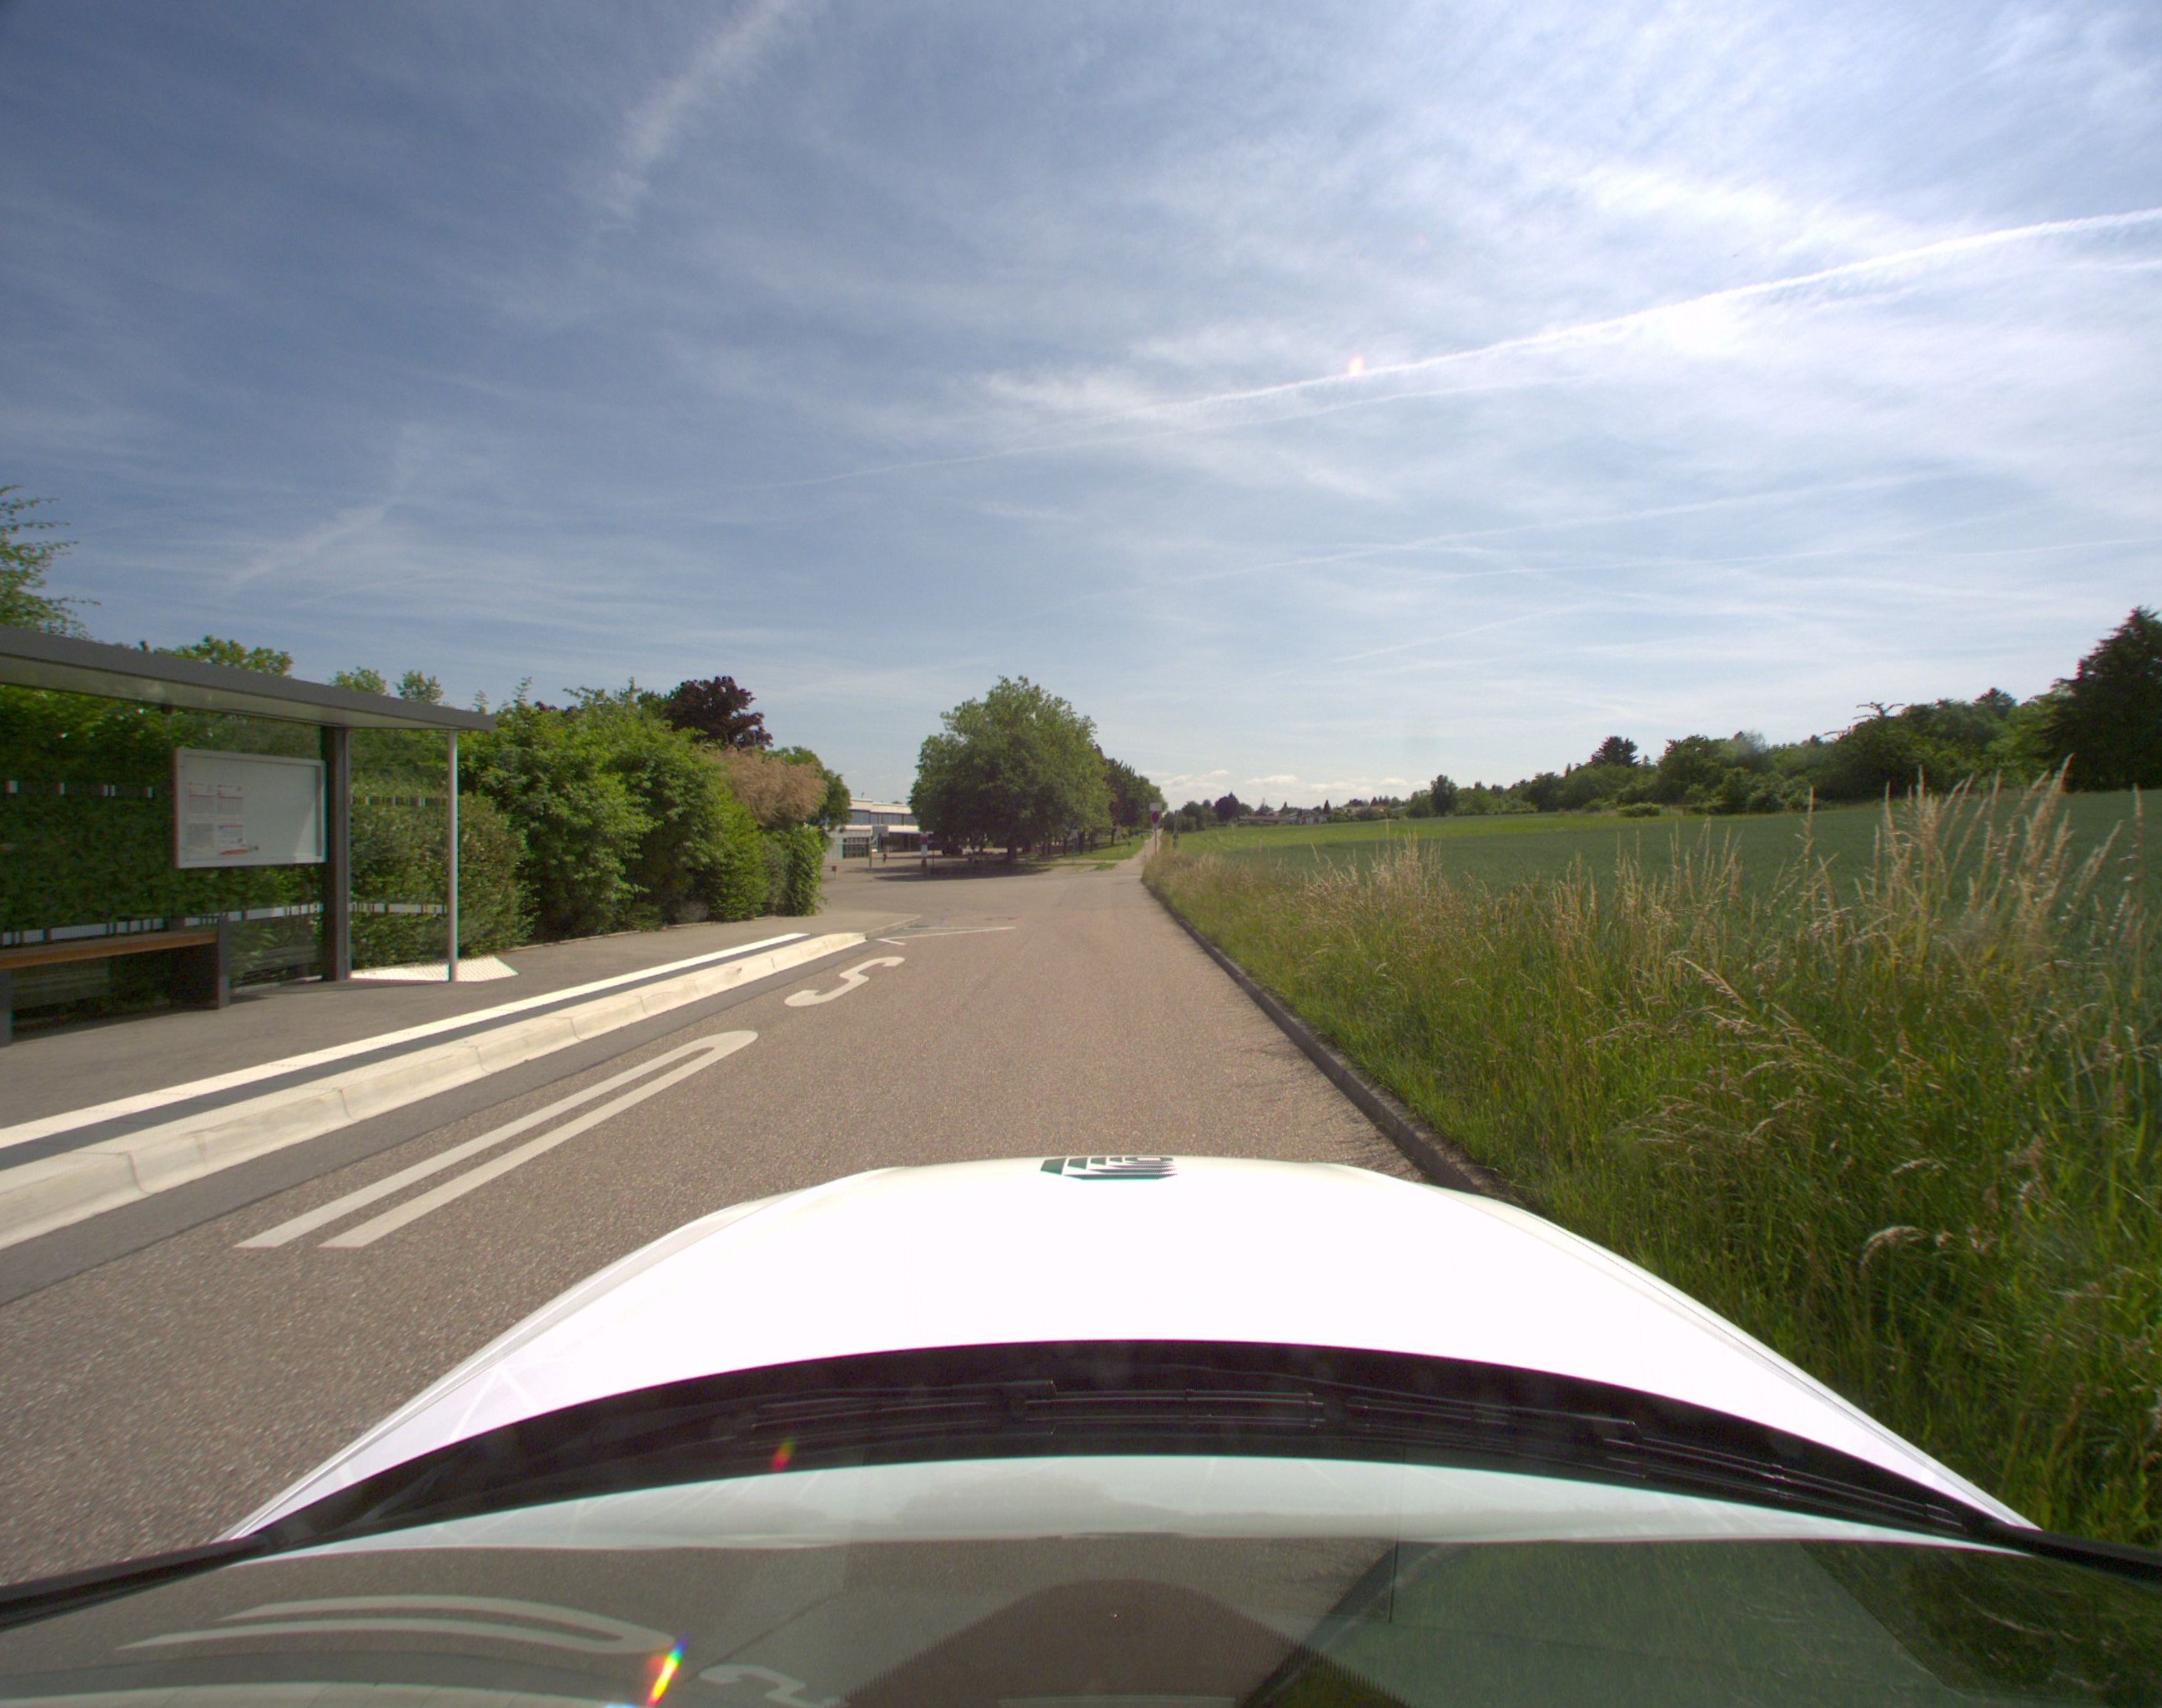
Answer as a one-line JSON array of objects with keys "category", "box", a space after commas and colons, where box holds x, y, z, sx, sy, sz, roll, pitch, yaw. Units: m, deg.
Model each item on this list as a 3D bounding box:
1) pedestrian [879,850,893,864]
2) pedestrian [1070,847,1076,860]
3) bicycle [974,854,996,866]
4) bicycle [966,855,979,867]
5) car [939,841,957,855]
[{"category": "pedestrian", "box": [-19.914, 0.304, 83.285, 0.909, 1.423, 1.075, 0, 1, 20]}, {"category": "pedestrian", "box": [-1.374, -0.080, 135.690, 0.686, 2.013, 0.796, -1, 0, -28]}, {"category": "bicycle", "box": [-9.324, 0.595, 78.833, 2.057, 1.039, 0.571, -2, 1, -3]}, {"category": "bicycle", "box": [-10.201, 0.693, 76.841, 0.590, 1.039, 1.899, -2, 1, 13]}, {"category": "car", "box": [-18.994, -0.860, 116.366, 1.684, 1.834, 3.414, -1, 1, 3]}]
